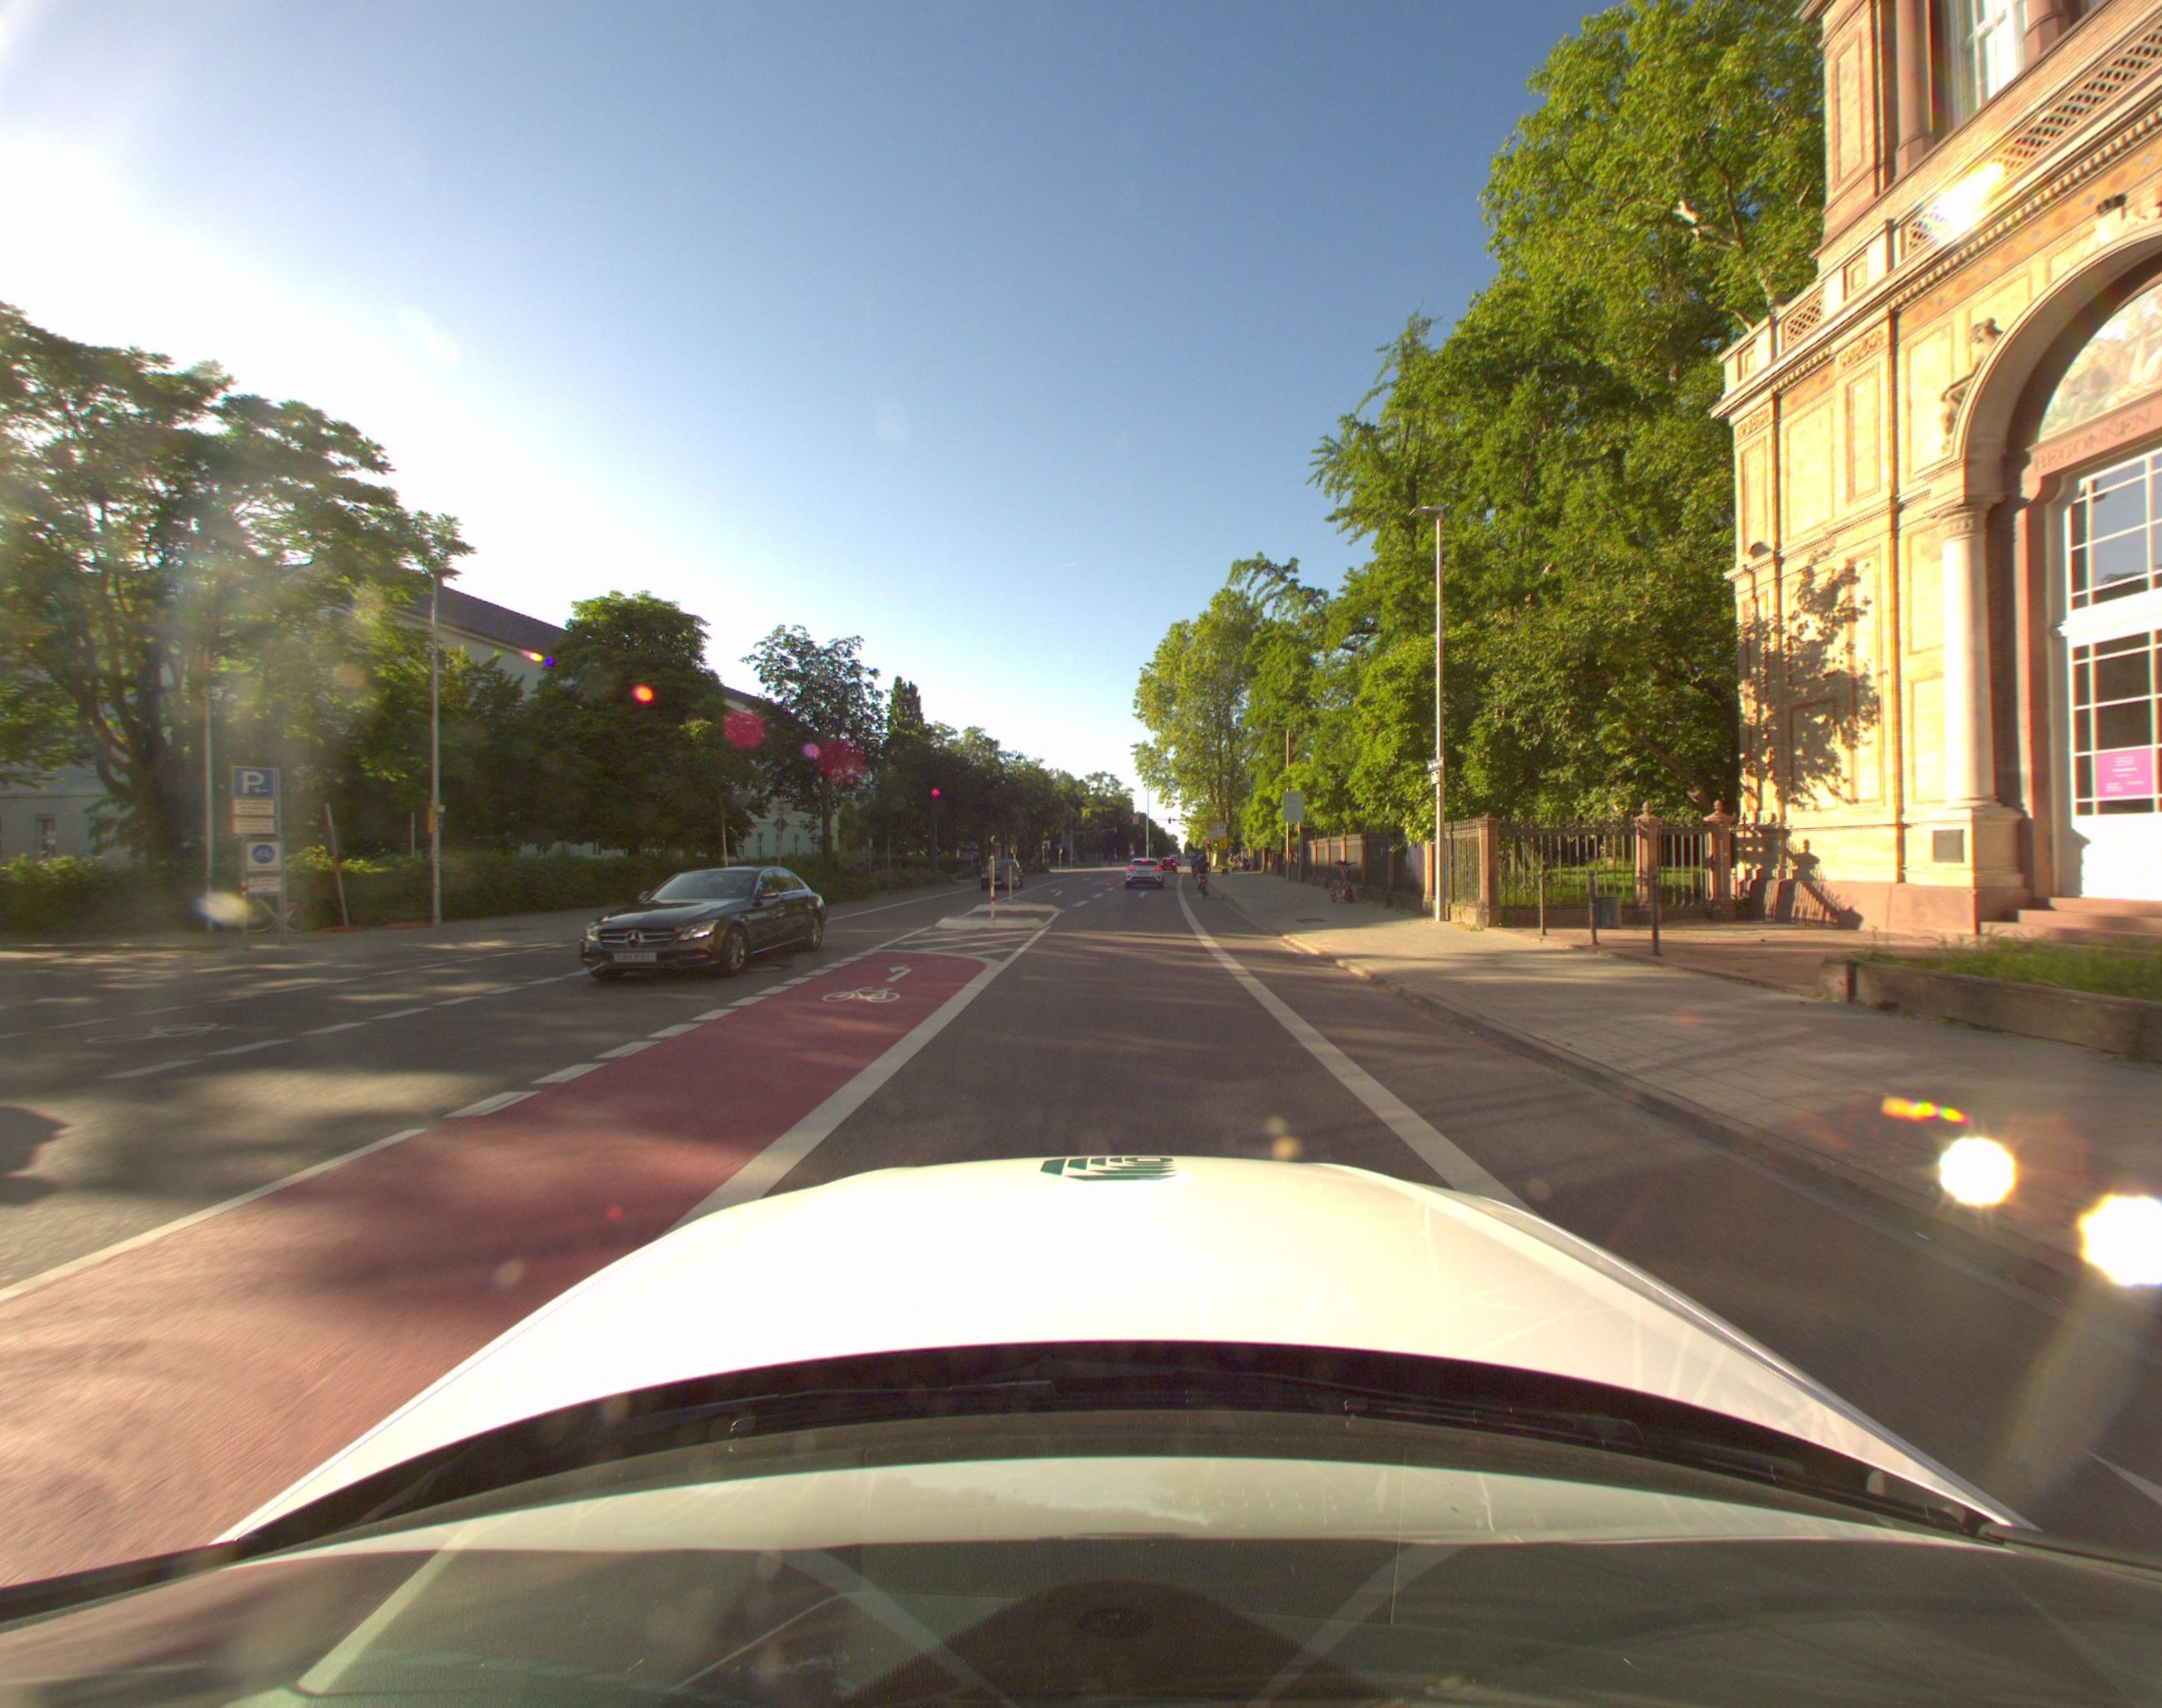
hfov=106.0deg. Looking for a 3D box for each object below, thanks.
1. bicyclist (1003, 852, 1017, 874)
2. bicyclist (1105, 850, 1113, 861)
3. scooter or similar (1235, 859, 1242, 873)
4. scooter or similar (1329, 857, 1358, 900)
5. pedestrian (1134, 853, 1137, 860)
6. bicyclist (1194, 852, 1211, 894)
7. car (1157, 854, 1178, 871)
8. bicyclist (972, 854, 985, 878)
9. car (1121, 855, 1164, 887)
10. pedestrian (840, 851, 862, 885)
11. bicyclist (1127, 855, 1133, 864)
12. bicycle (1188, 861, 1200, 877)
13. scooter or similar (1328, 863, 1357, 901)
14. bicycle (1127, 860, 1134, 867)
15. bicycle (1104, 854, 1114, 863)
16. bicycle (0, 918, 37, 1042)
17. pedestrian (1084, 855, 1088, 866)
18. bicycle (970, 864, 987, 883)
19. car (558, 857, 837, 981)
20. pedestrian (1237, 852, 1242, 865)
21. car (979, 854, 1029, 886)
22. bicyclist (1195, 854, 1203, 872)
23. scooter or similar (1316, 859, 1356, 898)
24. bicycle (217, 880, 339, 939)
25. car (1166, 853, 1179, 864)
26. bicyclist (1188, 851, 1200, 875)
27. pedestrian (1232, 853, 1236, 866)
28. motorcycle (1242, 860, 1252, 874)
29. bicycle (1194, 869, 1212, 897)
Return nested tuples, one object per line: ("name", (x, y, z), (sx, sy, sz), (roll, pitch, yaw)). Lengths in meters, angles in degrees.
("bicyclist", (-4.695, 0.585, 53.732), (0.643, 1.418, 0.972), (-4, 0, 4))
("bicyclist", (4.408, 0.224, 126.966), (1.086, 1.754, 1.100), (-1, -1, 9))
("scooter or similar", (15.381, 1.149, 79.547), (0.563, 1.382, 1.859), (-1, -1, 6))
("scooter or similar", (7.792, 0.731, 24.198), (0.297, 1.240, 1.157), (-1, -1, -9))
("pedestrian", (17.023, 0.705, 254.225), (0.869, 2.149, 1.108), (-2, -1, 16))
("bicyclist", (4.734, 0.725, 31.774), (0.632, 1.614, 1.286), (0, -1, 7))
("car", (8.452, 0.798, 79.453), (1.919, 1.533, 4.008), (-1, -1, 7))
("bicyclist", (-6.728, 0.796, 53.306), (0.626, 1.522, 0.725), (-4, 0, 4))
("car", (3.110, 0.822, 40.581), (1.983, 1.453, 4.007), (-1, -1, 6))
("pedestrian", (-13.113, 0.795, 46.417), (0.851, 1.851, 1.003), (-1, -1, 5))
("bicyclist", (9.049, 0.975, 150.378), (0.950, 1.705, 1.235), (-1, -1, 9))
("bicycle", (7.207, 0.946, 51.908), (0.749, 1.026, 1.873), (0, -1, 7))
("scooter or similar", (8.082, 0.845, 25.190), (0.478, 1.122, 1.337), (-2, -1, 3))
("bicycle", (9.115, 1.707, 150.491), (0.958, 1.181, 2.958), (-1, -1, 9))
("bicycle", (4.370, 0.693, 126.723), (1.095, 1.255, 2.786), (-1, -1, 9))
("bicycle", (-9.145, 1.041, 5.796), (0.649, 0.996, 2.110), (-2, 0, 1))
("pedestrian", (0.872, 1.171, 149.618), (0.647, 1.888, 0.664), (-1, -1, 9))
("bicycle", (-6.690, 1.265, 53.183), (0.594, 1.120, 2.029), (-4, -1, 4))
("car", (-5.201, 0.779, 11.862), (1.805, 1.419, 4.556), (-1, 0, 1))
("pedestrian", (21.353, 0.627, 109.788), (0.479, 1.792, 0.433), (-4, 2, 13))
("car", (-3.682, 0.747, 39.623), (1.750, 1.459, 4.004), (-1, 0, 4))
("bicyclist", (11.742, 0.884, 80.781), (0.746, 1.750, 0.845), (0, -1, 6))
("scooter or similar", (8.460, 0.801, 27.073), (0.548, 1.243, 1.552), (-1, -1, -10))
("bicycle", (-17.726, 1.225, 17.990), (2.308, 1.230, 0.561), (-1, -1, 5))
("car", (13.651, 0.605, 121.235), (1.727, 1.546, 4.010), (-1, 0, 9))
("bicyclist", (7.201, 0.562, 51.951), (0.743, 1.537, 0.971), (0, -1, 7))
("pedestrian", (20.505, 0.748, 109.125), (0.479, 1.640, 0.433), (-4, 2, 13))
("motorcycle", (14.812, 1.144, 72.777), (0.658, 1.167, 2.332), (-3, -1, 7))
("bicycle", (4.754, 1.132, 31.889), (0.639, 1.025, 2.217), (1, 0, 7))
